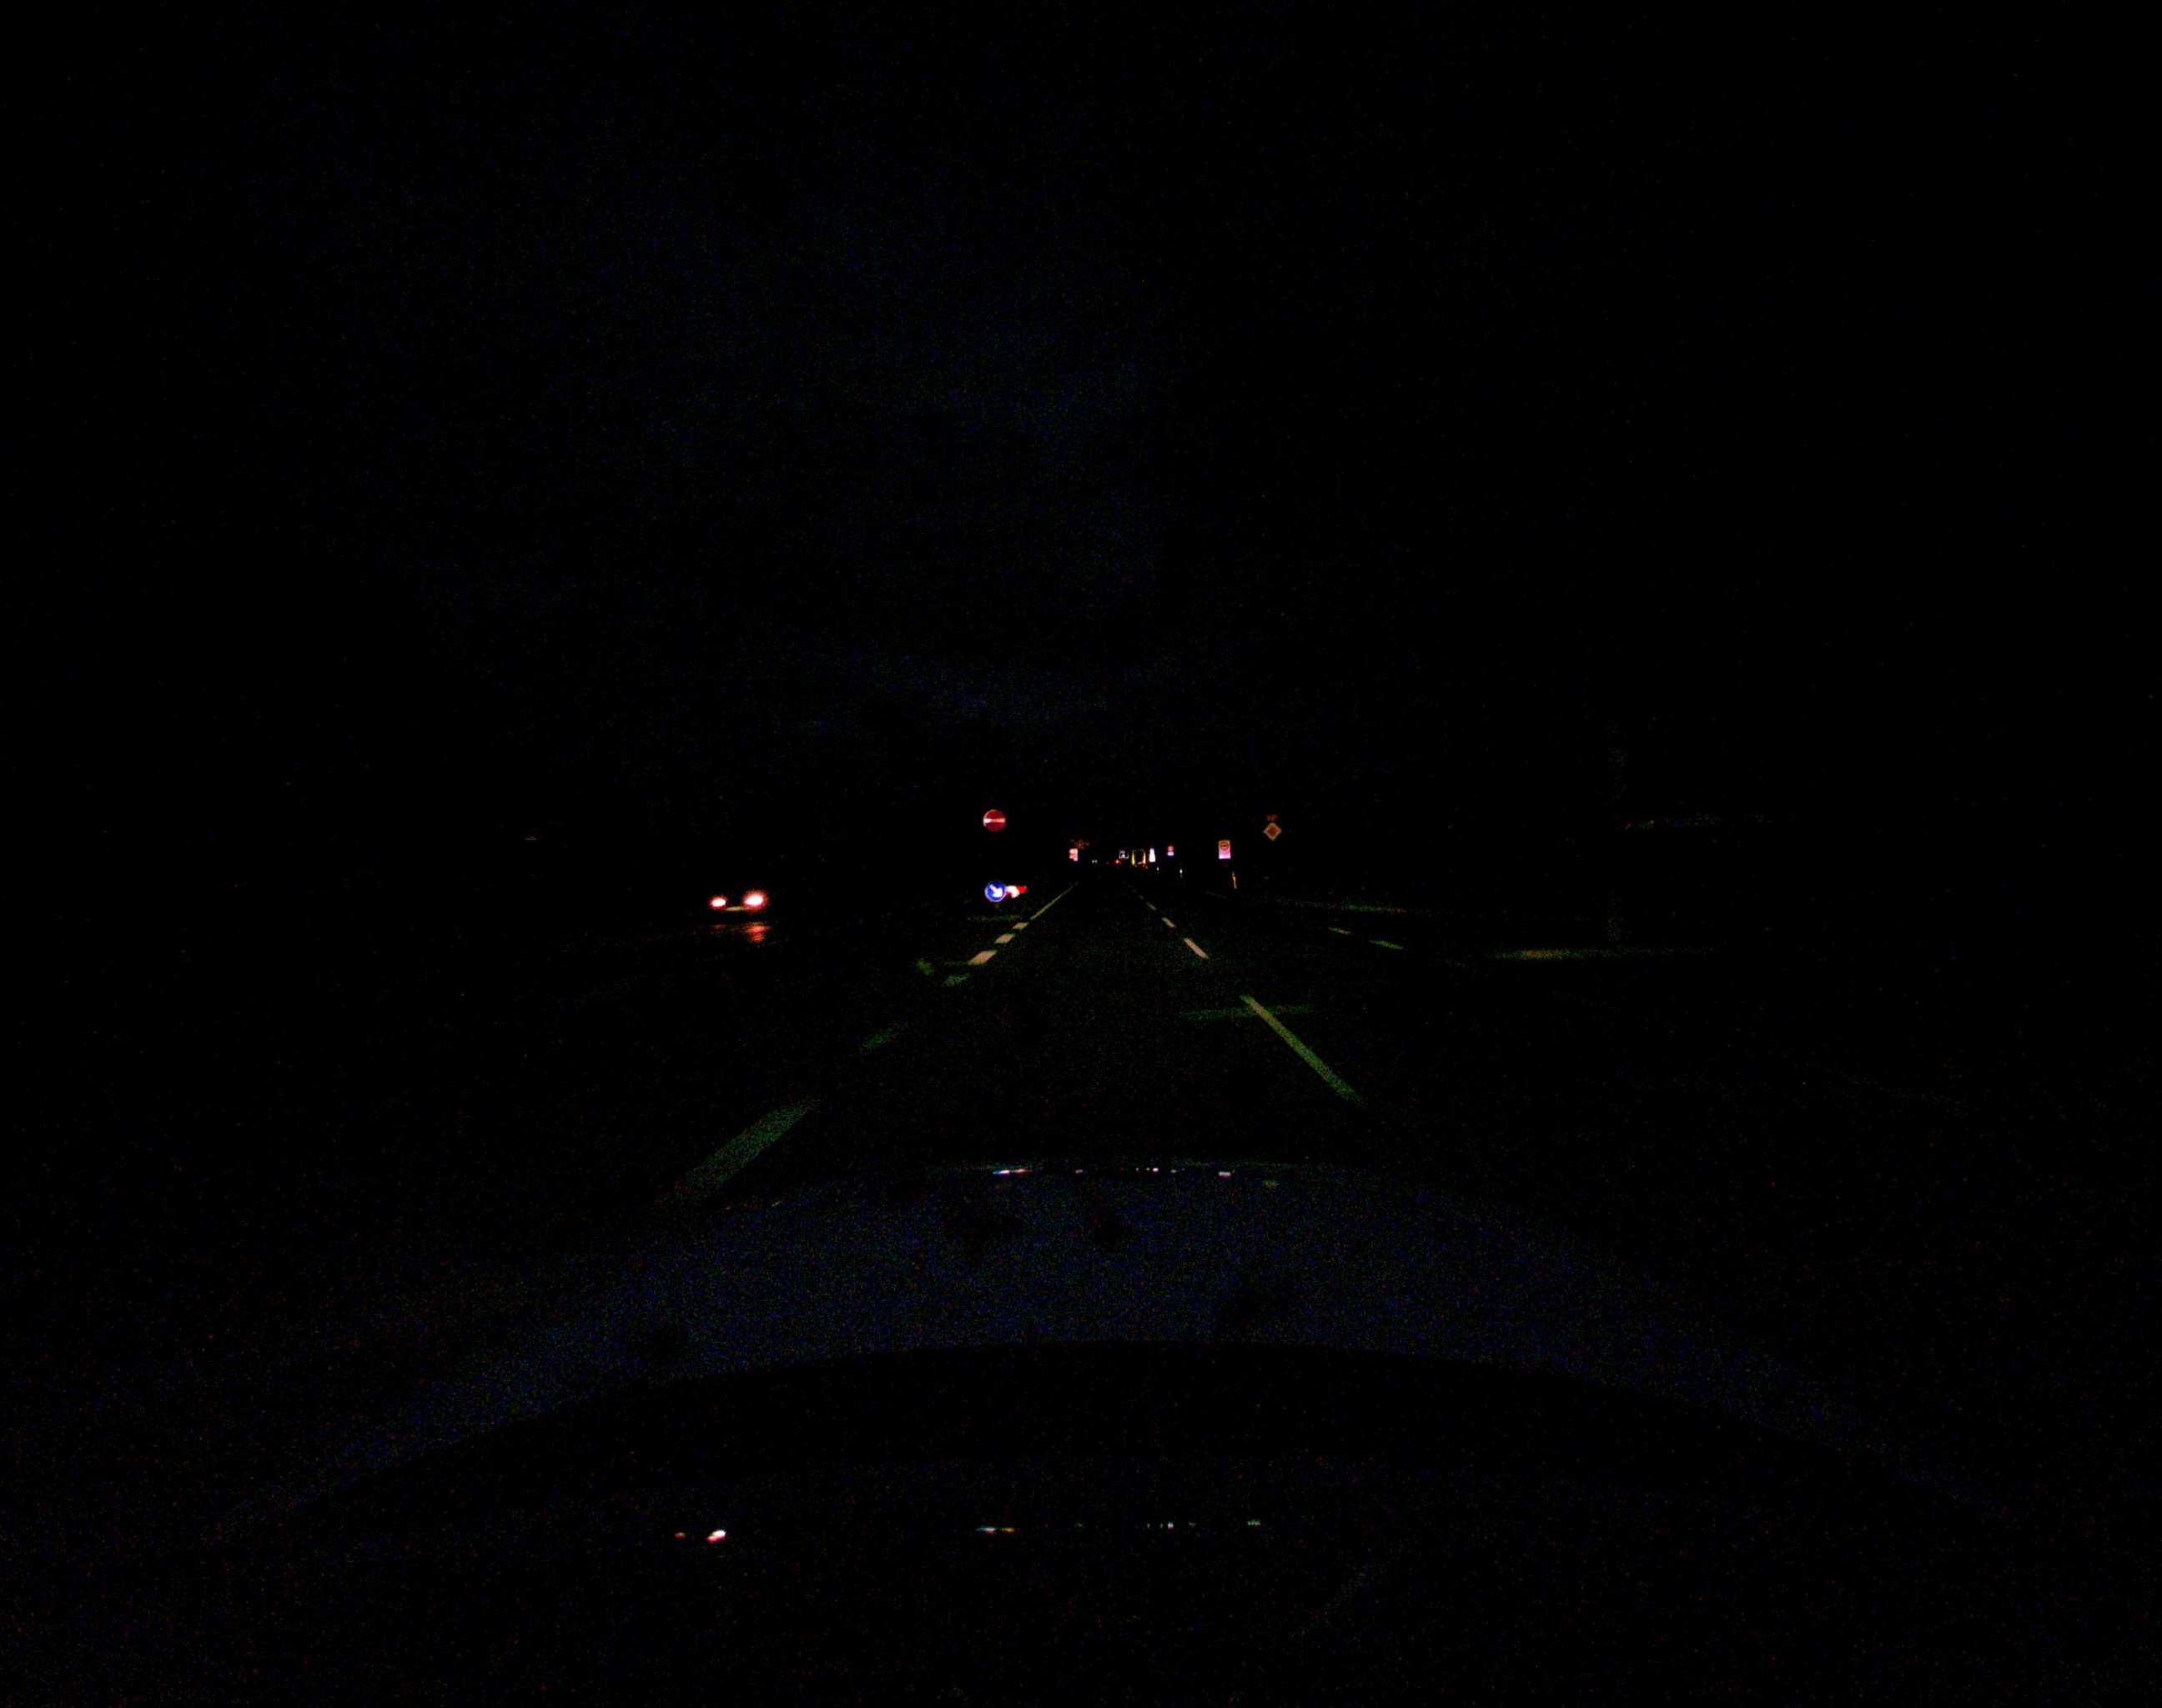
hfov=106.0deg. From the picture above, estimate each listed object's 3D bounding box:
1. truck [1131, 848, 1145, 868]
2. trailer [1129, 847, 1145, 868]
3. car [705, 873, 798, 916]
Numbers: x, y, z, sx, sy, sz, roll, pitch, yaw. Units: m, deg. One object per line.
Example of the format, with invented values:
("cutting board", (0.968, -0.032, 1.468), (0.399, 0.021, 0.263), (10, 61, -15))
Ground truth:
("truck", (11.355, 0.788, 162.333), (2.569, 4.071, 6.133), (0, 0, 2))
("trailer", (11.620, 0.789, 169.728), (2.612, 4.104, 12.940), (-2, -1, 1))
("car", (-11.791, 1.414, 29.397), (1.646, 1.384, 4.030), (0, -1, 1))
